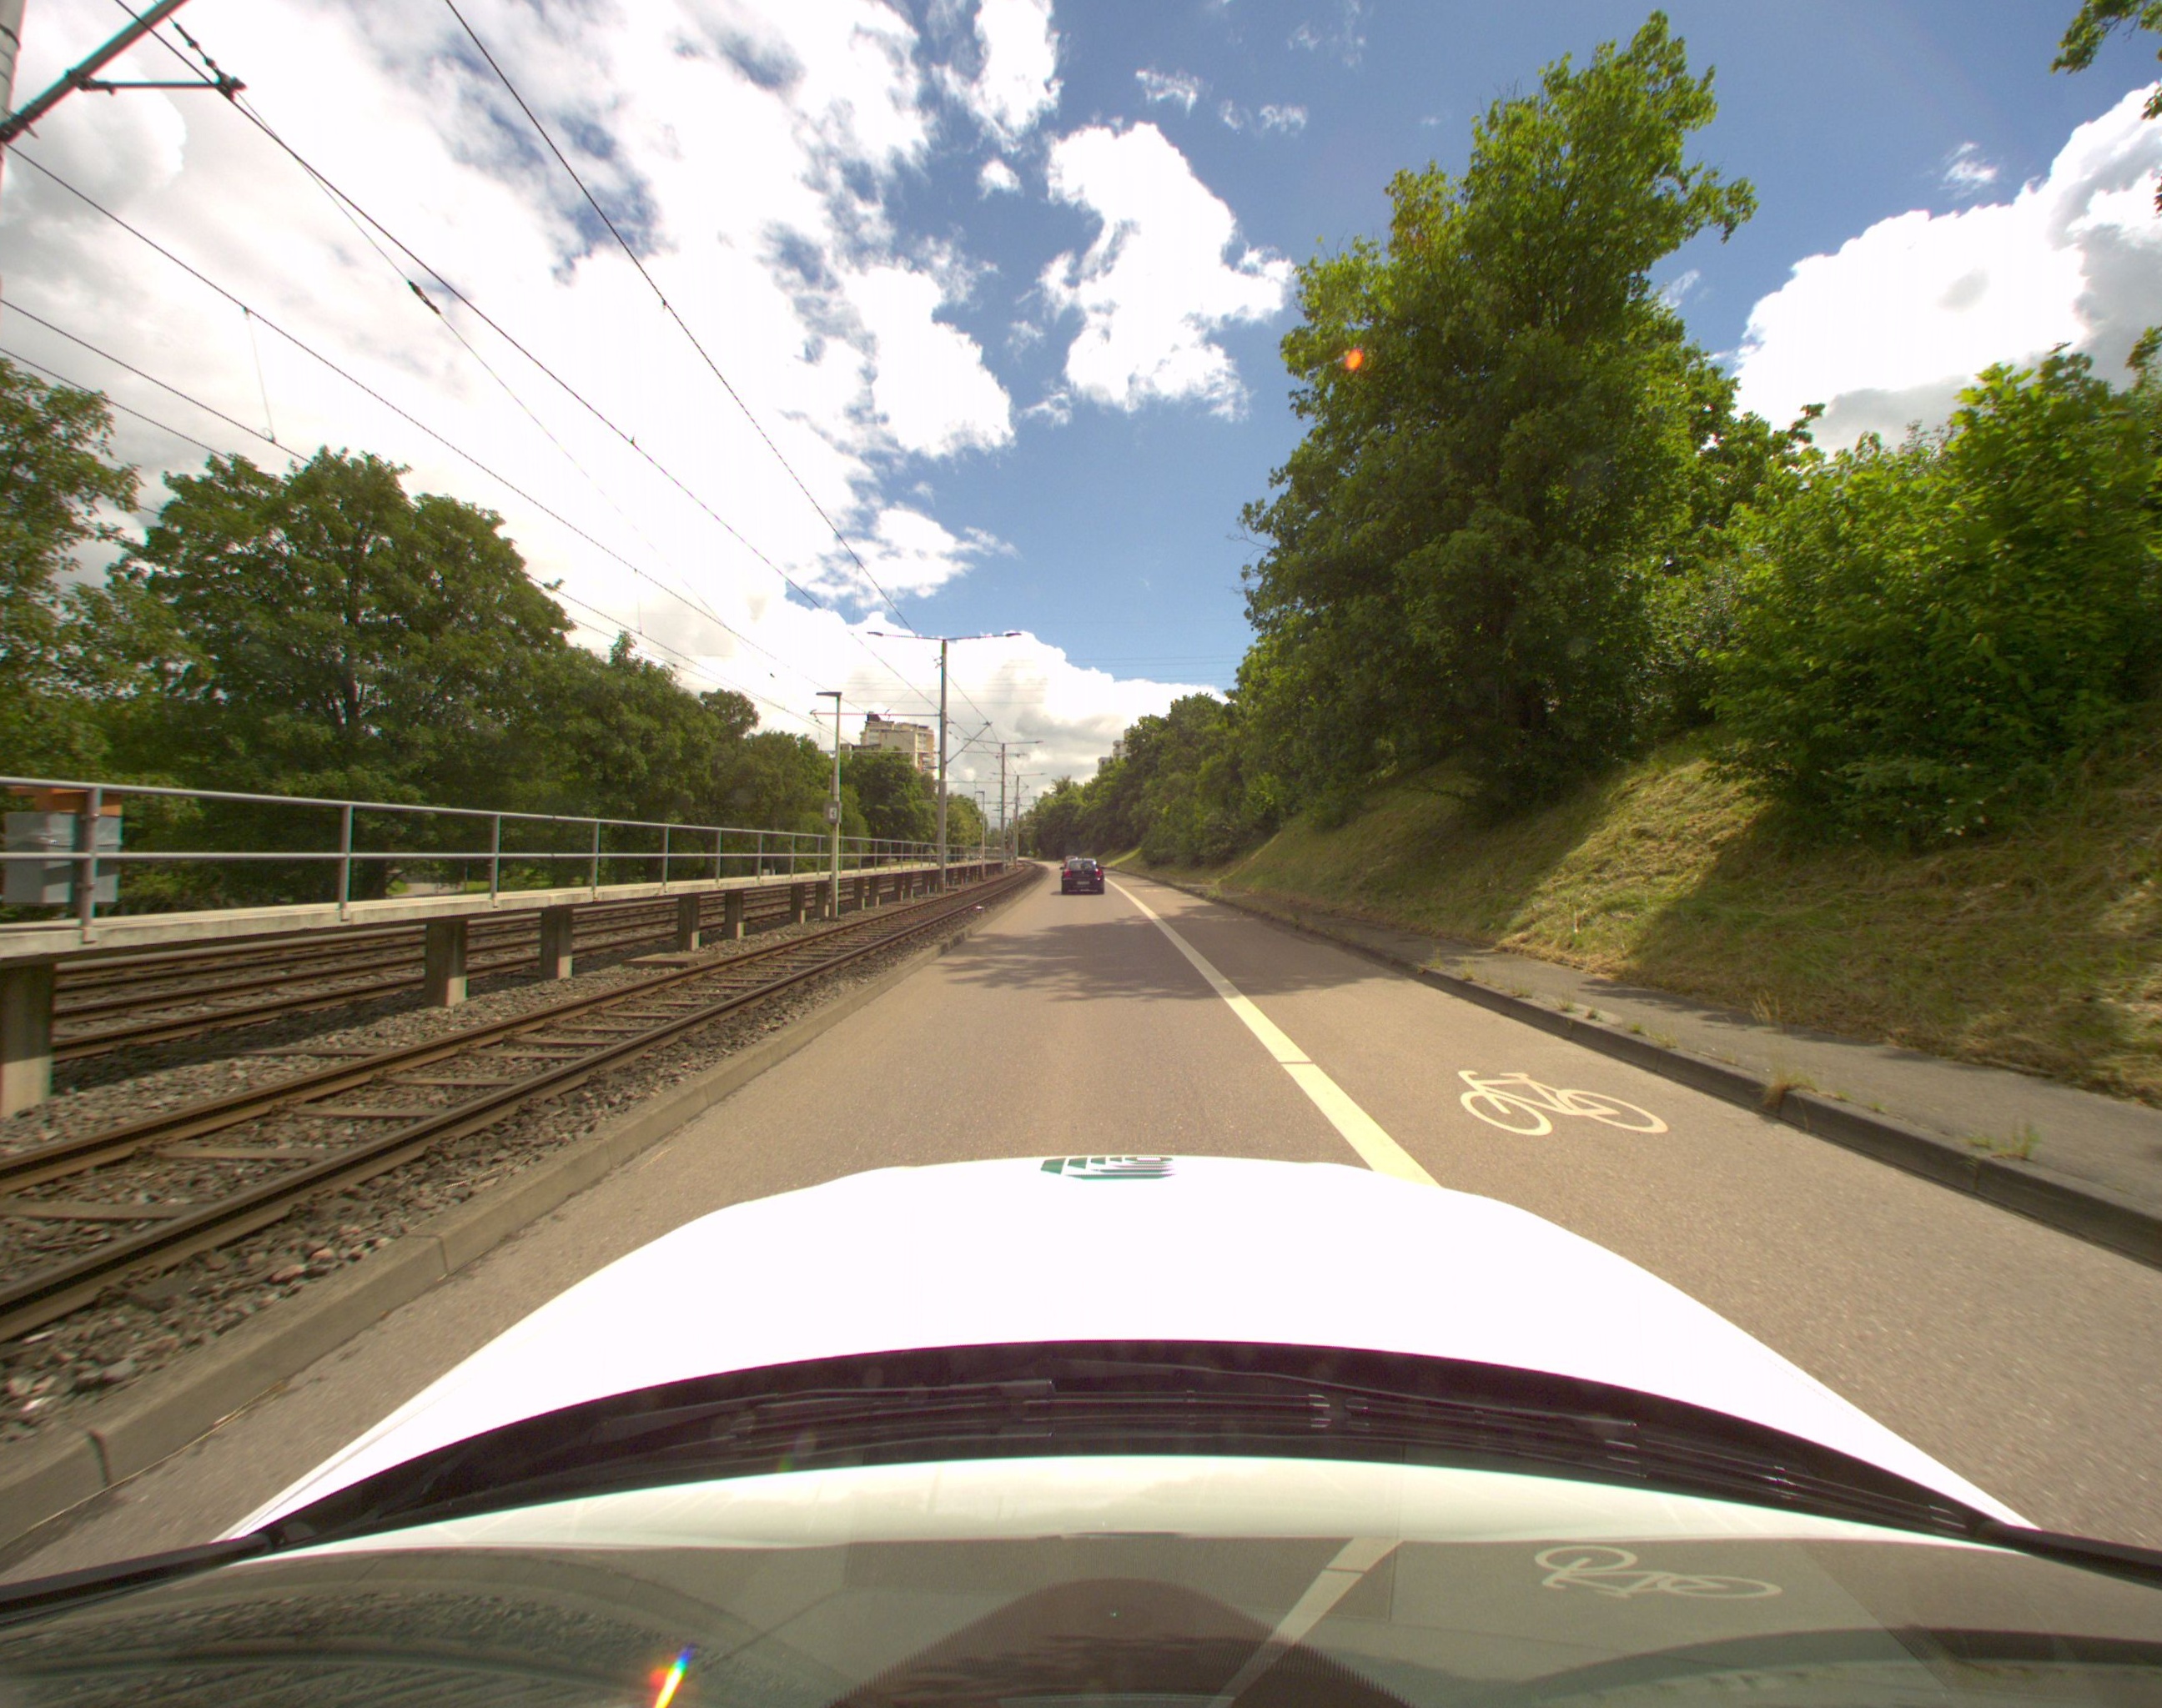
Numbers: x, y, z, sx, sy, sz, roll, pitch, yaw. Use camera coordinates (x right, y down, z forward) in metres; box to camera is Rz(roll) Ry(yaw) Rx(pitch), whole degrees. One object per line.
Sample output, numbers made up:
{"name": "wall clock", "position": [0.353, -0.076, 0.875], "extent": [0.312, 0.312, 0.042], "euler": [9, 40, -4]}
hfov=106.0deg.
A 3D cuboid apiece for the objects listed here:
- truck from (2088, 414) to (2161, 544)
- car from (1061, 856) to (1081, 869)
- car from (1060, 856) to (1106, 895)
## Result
{"name": "truck", "position": [20.460, -7.069, 13.958], "extent": [1.381, 1.941, 3.963], "euler": [0, 0, -3]}
{"name": "car", "position": [-1.090, 0.949, 90.142], "extent": [1.779, 1.460, 3.911], "euler": [0, -1, -7]}
{"name": "car", "position": [0.047, 0.849, 33.372], "extent": [1.776, 1.459, 3.919], "euler": [-1, 0, -1]}
